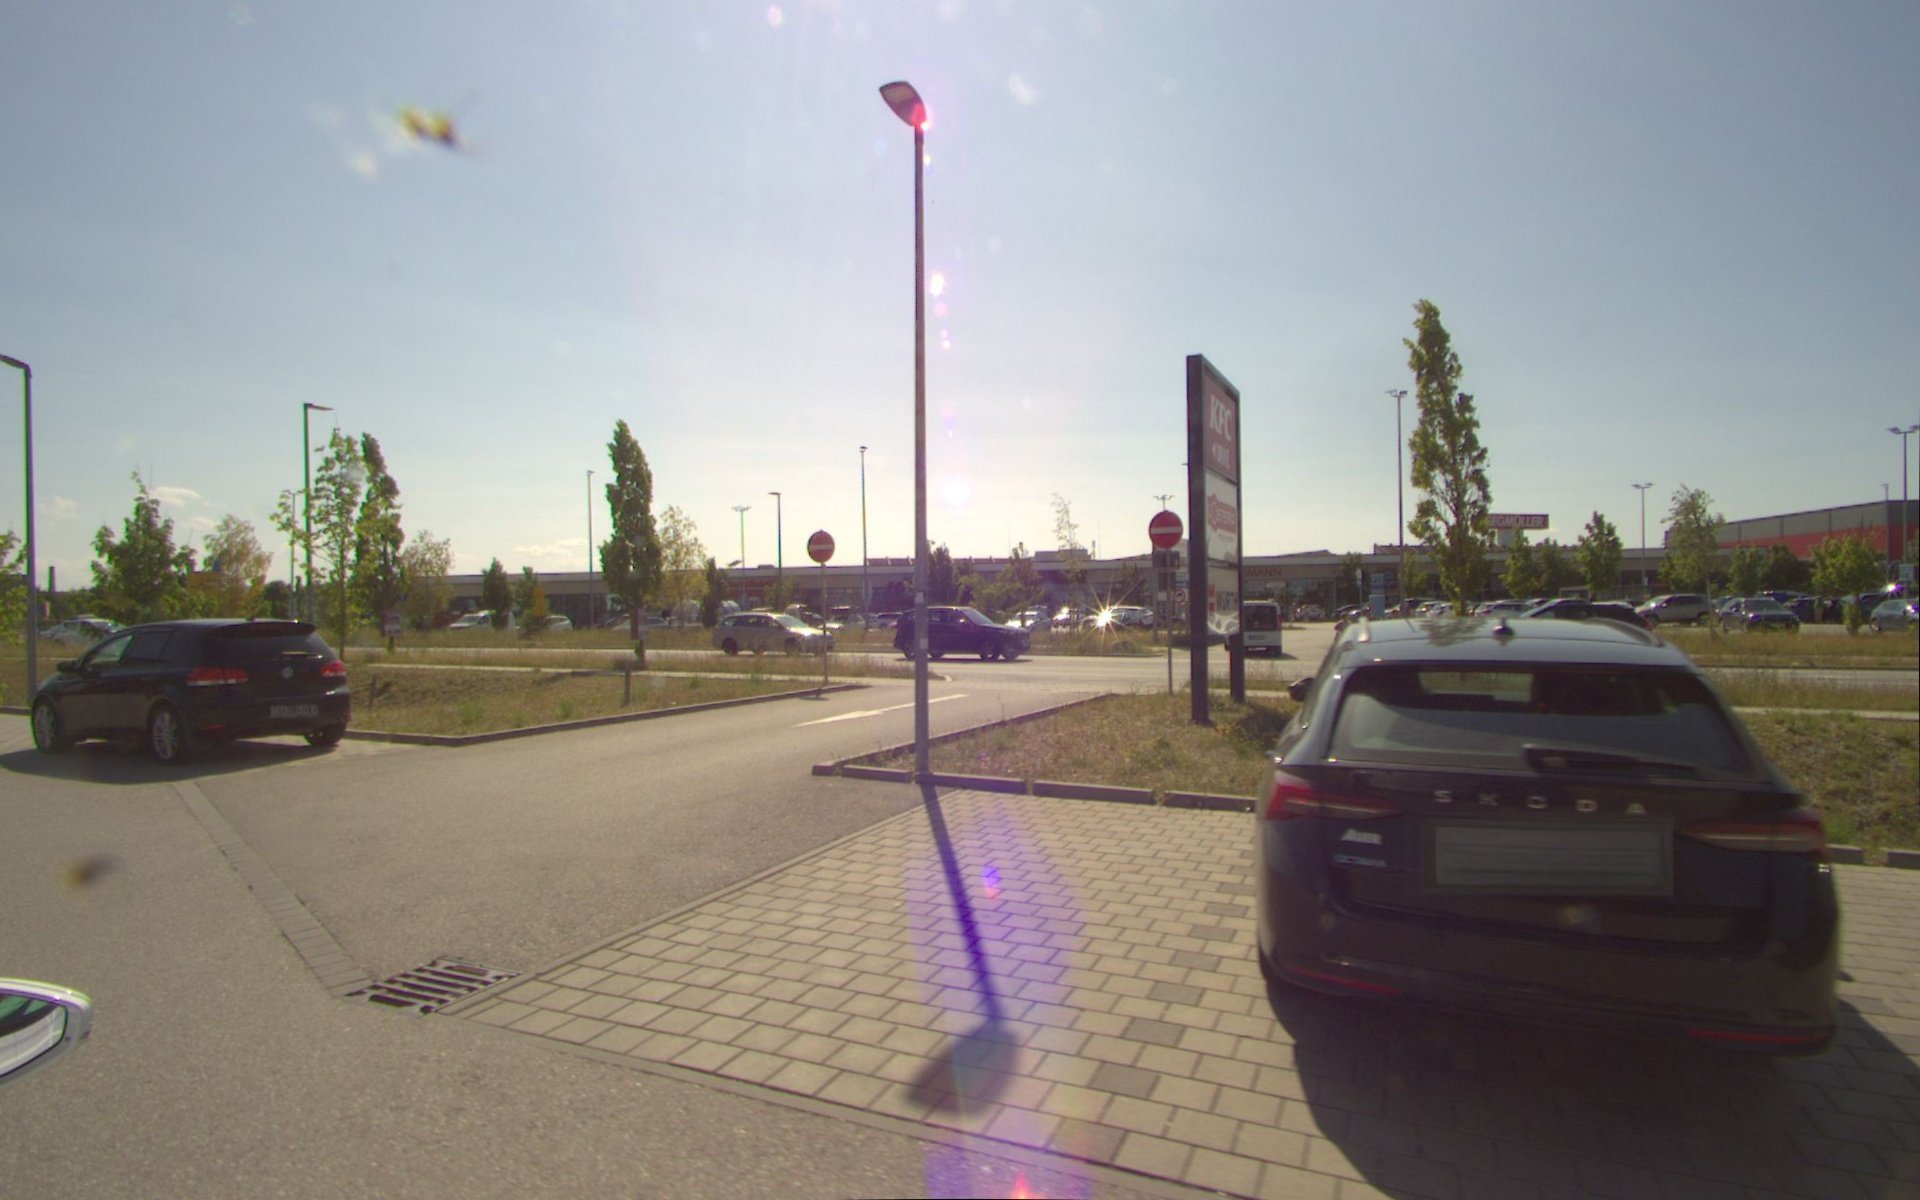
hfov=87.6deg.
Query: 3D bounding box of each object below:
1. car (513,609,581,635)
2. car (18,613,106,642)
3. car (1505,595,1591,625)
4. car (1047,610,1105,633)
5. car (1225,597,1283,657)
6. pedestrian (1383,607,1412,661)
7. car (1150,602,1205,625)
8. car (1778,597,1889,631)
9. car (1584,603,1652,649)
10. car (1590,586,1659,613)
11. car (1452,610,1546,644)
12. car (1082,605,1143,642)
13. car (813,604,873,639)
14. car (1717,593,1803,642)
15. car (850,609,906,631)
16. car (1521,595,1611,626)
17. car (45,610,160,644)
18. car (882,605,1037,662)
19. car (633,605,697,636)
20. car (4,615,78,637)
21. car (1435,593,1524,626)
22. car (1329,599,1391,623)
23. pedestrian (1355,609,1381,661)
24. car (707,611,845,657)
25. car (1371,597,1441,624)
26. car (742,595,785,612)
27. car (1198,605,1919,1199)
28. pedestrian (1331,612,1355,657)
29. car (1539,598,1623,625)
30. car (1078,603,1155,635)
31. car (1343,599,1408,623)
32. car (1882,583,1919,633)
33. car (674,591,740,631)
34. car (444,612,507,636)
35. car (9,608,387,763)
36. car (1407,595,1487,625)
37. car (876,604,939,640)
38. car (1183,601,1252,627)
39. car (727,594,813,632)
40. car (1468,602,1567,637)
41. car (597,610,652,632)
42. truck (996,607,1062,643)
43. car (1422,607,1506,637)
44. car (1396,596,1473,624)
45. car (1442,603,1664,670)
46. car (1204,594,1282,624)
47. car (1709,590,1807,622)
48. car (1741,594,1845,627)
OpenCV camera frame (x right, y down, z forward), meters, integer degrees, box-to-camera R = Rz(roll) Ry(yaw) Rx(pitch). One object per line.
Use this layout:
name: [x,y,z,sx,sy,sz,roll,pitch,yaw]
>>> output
car: [-28.251,1.479,68.669,1.964,1.748,4.418,0,-1,17]
car: [-52.235,1.560,58.352,1.681,1.618,3.667,0,-1,5]
car: [37.735,0.667,64.318,4.319,1.880,1.956,0,0,4]
car: [8.739,1.589,75.333,4.224,1.639,1.984,0,-1,-39]
car: [10.546,0.936,35.896,1.845,1.980,4.888,0,-1,17]
pedestrian: [13.417,1.040,30.682,0.745,1.620,0.689,0,0,30]
car: [18.330,1.115,84.501,4.319,1.880,1.956,0,0,4]
car: [48.372,0.776,55.519,4.319,1.880,1.956,0,0,4]
car: [28.064,1.091,42.826,1.969,1.880,4.270,0,-1,28]
car: [51.249,0.005,77.296,3.923,2.040,2.000,0,0,7]
car: [31.048,1.527,57.779,4.319,1.880,1.956,0,0,4]
car: [8.146,1.222,53.053,1.967,1.870,4.718,0,-1,25]
car: [-7.093,1.309,61.441,1.963,2.040,5.175,0,-1,14]
car: [32.673,0.715,41.008,1.925,1.880,4.388,0,-1,28]
car: [-6.334,1.562,77.410,3.925,1.639,1.999,0,0,13]
car: [37.447,0.632,61.983,4.319,1.880,1.956,0,0,4]
car: [-39.509,1.220,46.171,3.922,1.503,1.878,0,0,6]
car: [-0.026,1.006,31.437,4.528,1.686,1.873,0,0,25]
car: [-20.201,1.370,68.809,1.963,2.040,5.072,0,-1,14]
car: [-62.403,1.766,68.088,1.558,1.413,3.716,0,-1,1]
car: [31.228,0.575,60.334,4.319,1.880,1.956,0,0,4]
car: [32.729,0.899,81.950,4.318,1.880,1.956,0,0,2]
pedestrian: [12.681,1.081,31.112,0.657,1.576,0.623,0,0,30]
car: [-6.448,1.143,34.984,4.528,1.503,1.873,0,-1,25]
car: [32.758,0.778,73.647,4.318,1.880,1.956,0,0,2]
car: [-16.949,0.292,86.414,3.419,1.418,1.431,0,0,12]
car: [2.416,0.787,4.836,1.845,1.506,4.444,0,0,22]
pedestrian: [12.253,1.103,32.029,0.713,1.416,0.863,-1,-1,22]
car: [45.080,0.830,72.751,4.854,1.880,1.956,0,0,4]
car: [9.242,1.106,59.129,4.325,1.870,1.998,0,0,14]
car: [32.870,0.860,79.215,4.318,1.880,1.956,0,0,2]
car: [37.607,0.321,38.625,1.925,1.880,4.388,0,-1,28]
car: [-16.283,0.738,64.706,1.963,2.487,5.072,0,-1,14]
car: [-33.267,1.641,68.833,1.810,1.639,3.659,0,-1,23]
car: [-8.872,0.875,11.649,4.053,1.497,1.835,-1,1,26]
car: [32.081,0.663,66.036,4.319,1.880,1.956,0,0,4]
car: [-3.053,1.297,59.095,1.969,2.040,4.075,0,-1,28]
car: [18.467,1.006,71.890,4.484,1.880,1.956,0,0,4]
car: [-11.997,0.817,63.748,2.766,2.266,6.302,0,-1,18]
car: [30.648,1.079,55.128,4.319,1.880,1.956,0,0,4]
car: [-26.598,1.653,79.411,3.613,1.639,1.906,0,0,12]
truck: [3.929,1.379,55.985,1.967,1.888,5.417,0,-1,24]
car: [31.791,1.385,63.228,4.319,1.880,1.956,0,0,4]
car: [32.226,0.694,68.136,4.319,1.880,1.956,0,0,4]
car: [15.436,0.909,26.385,4.722,1.646,1.996,0,0,21]
car: [18.078,0.560,64.051,4.484,1.880,1.956,0,0,4]
car: [48.651,0.383,61.089,4.319,1.880,1.956,0,0,4]
car: [48.583,0.639,58.498,4.319,1.880,1.956,0,0,4]
